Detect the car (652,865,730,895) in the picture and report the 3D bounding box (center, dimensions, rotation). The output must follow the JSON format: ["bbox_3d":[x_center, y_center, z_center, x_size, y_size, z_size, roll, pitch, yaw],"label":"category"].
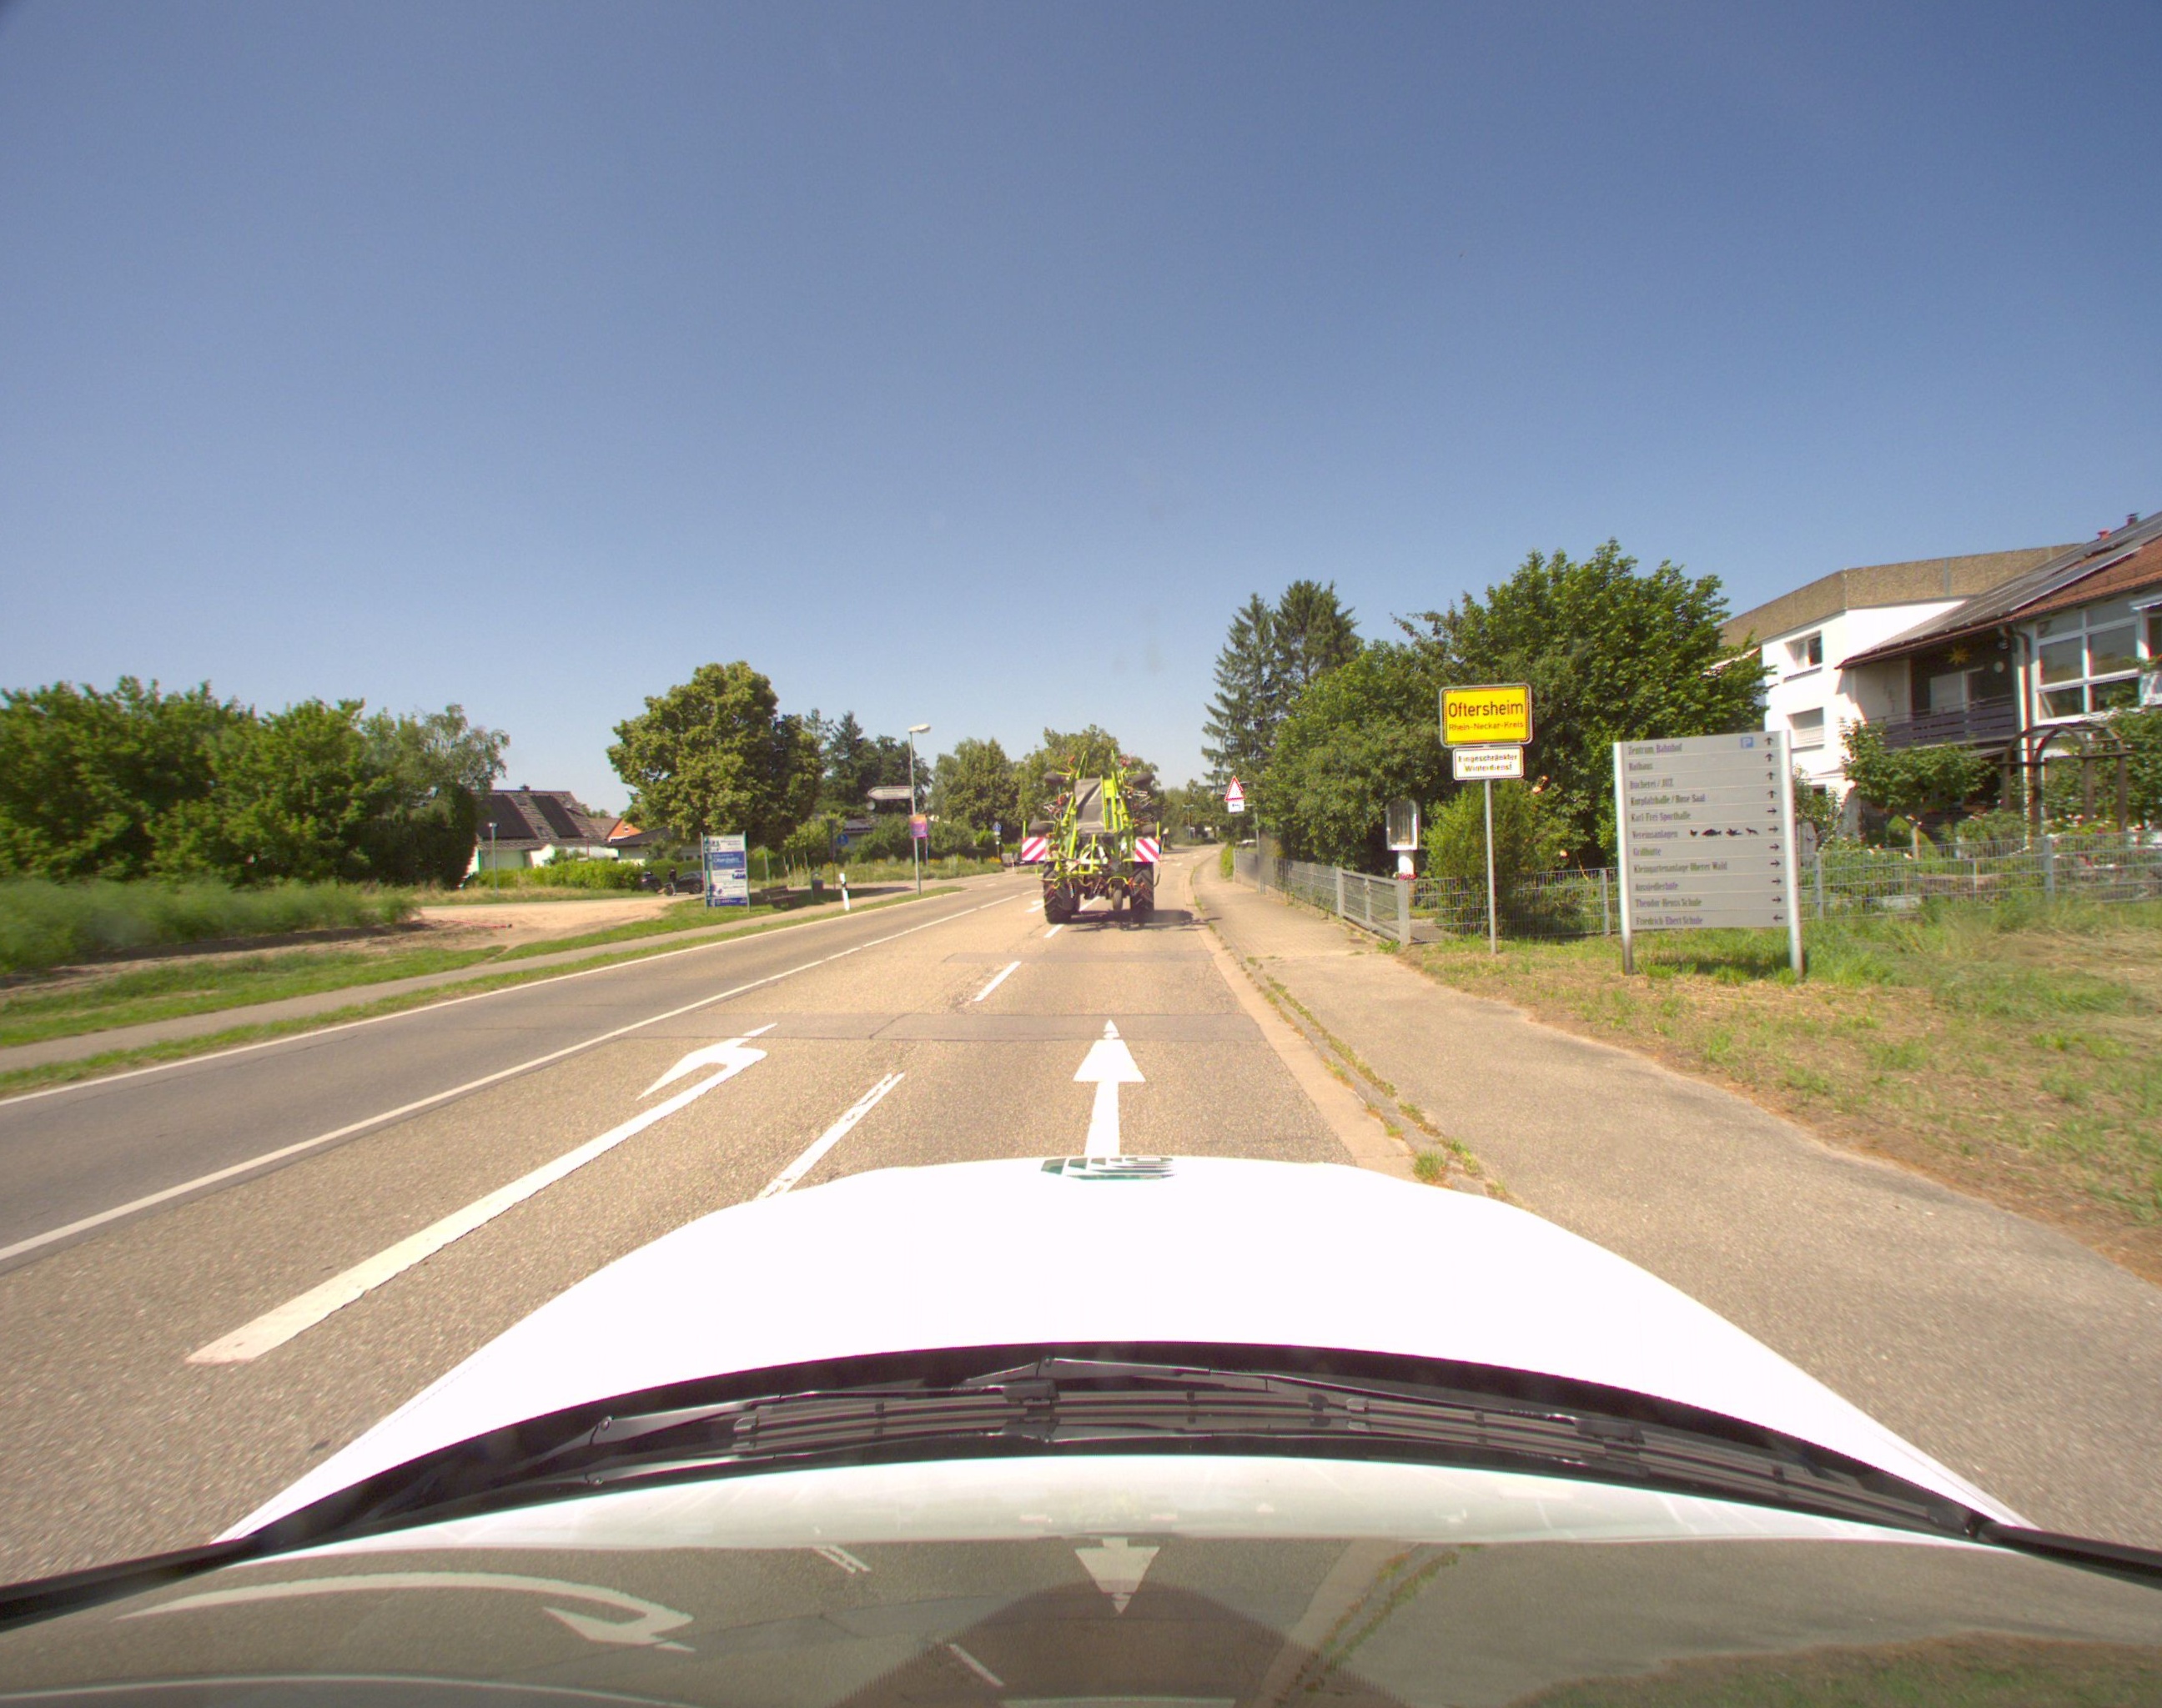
[{"bbox_3d":[-23.394,1.557,48.842,4.049,1.519,2.012,-3,0,26],"label":"car"}]

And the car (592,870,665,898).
[{"bbox_3d":[-31.576,2.083,56.919,3.967,1.518,1.885,-3,2,5],"label":"car"}]

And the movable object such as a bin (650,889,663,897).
[{"bbox_3d":[-22.489,2.060,43.129,0.754,0.410,0.322,-2,0,39],"label":"movable object such as a bin"}]

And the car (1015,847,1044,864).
[{"bbox_3d":[-4.968,0.153,79.161,1.676,1.530,4.015,-2,1,14],"label":"car"}]

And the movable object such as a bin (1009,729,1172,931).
[{"bbox_3d":[0.537,-0.480,19.583,2.840,3.541,9.713,-2,0,4],"label":"movable object such as a bin"}]

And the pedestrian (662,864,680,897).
[{"bbox_3d":[-22.071,1.432,43.817,0.667,1.716,0.554,-2,0,36],"label":"pedestrian"}]
